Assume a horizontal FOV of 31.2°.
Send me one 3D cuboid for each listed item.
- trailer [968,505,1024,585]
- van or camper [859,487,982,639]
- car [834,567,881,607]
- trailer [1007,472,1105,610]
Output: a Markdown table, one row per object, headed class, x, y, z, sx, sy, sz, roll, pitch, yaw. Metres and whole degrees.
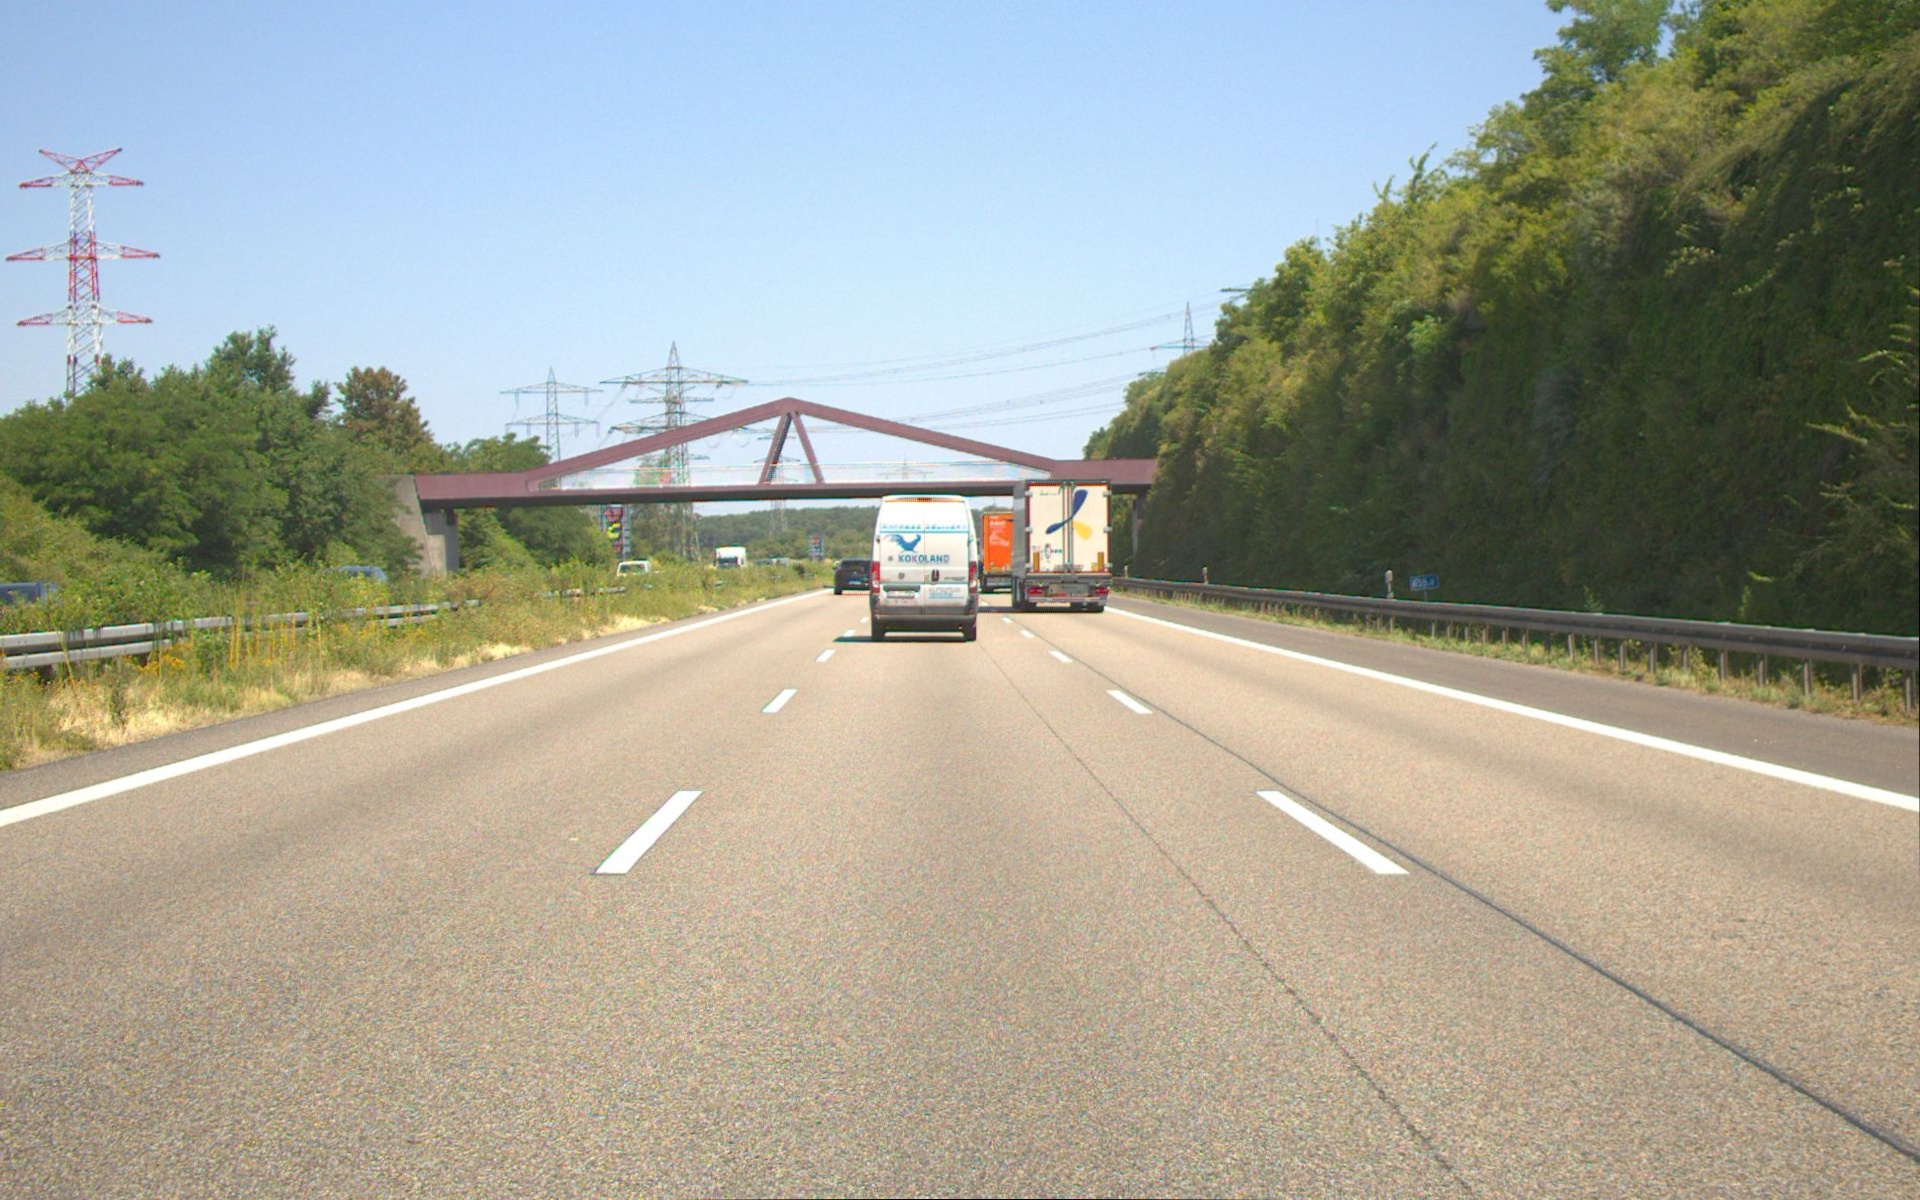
| class | x | y | z | sx | sy | sz | roll | pitch | yaw |
| --- | --- | --- | --- | --- | --- | --- | --- | --- | --- |
| trailer | 1.780 | -2.744 | 172.909 | 2.637 | 3.883 | 7.069 | 1 | 1 | 0 |
| van or camper | -0.770 | -0.725 | 66.624 | 2.230 | 2.772 | 5.423 | 1 | 1 | -1 |
| car | -4.844 | -0.637 | 163.064 | 1.982 | 1.811 | 3.813 | 1 | 1 | 1 |
| trailer | 2.938 | -1.836 | 108.533 | 2.637 | 4.046 | 12.366 | 1 | 1 | 0 |
